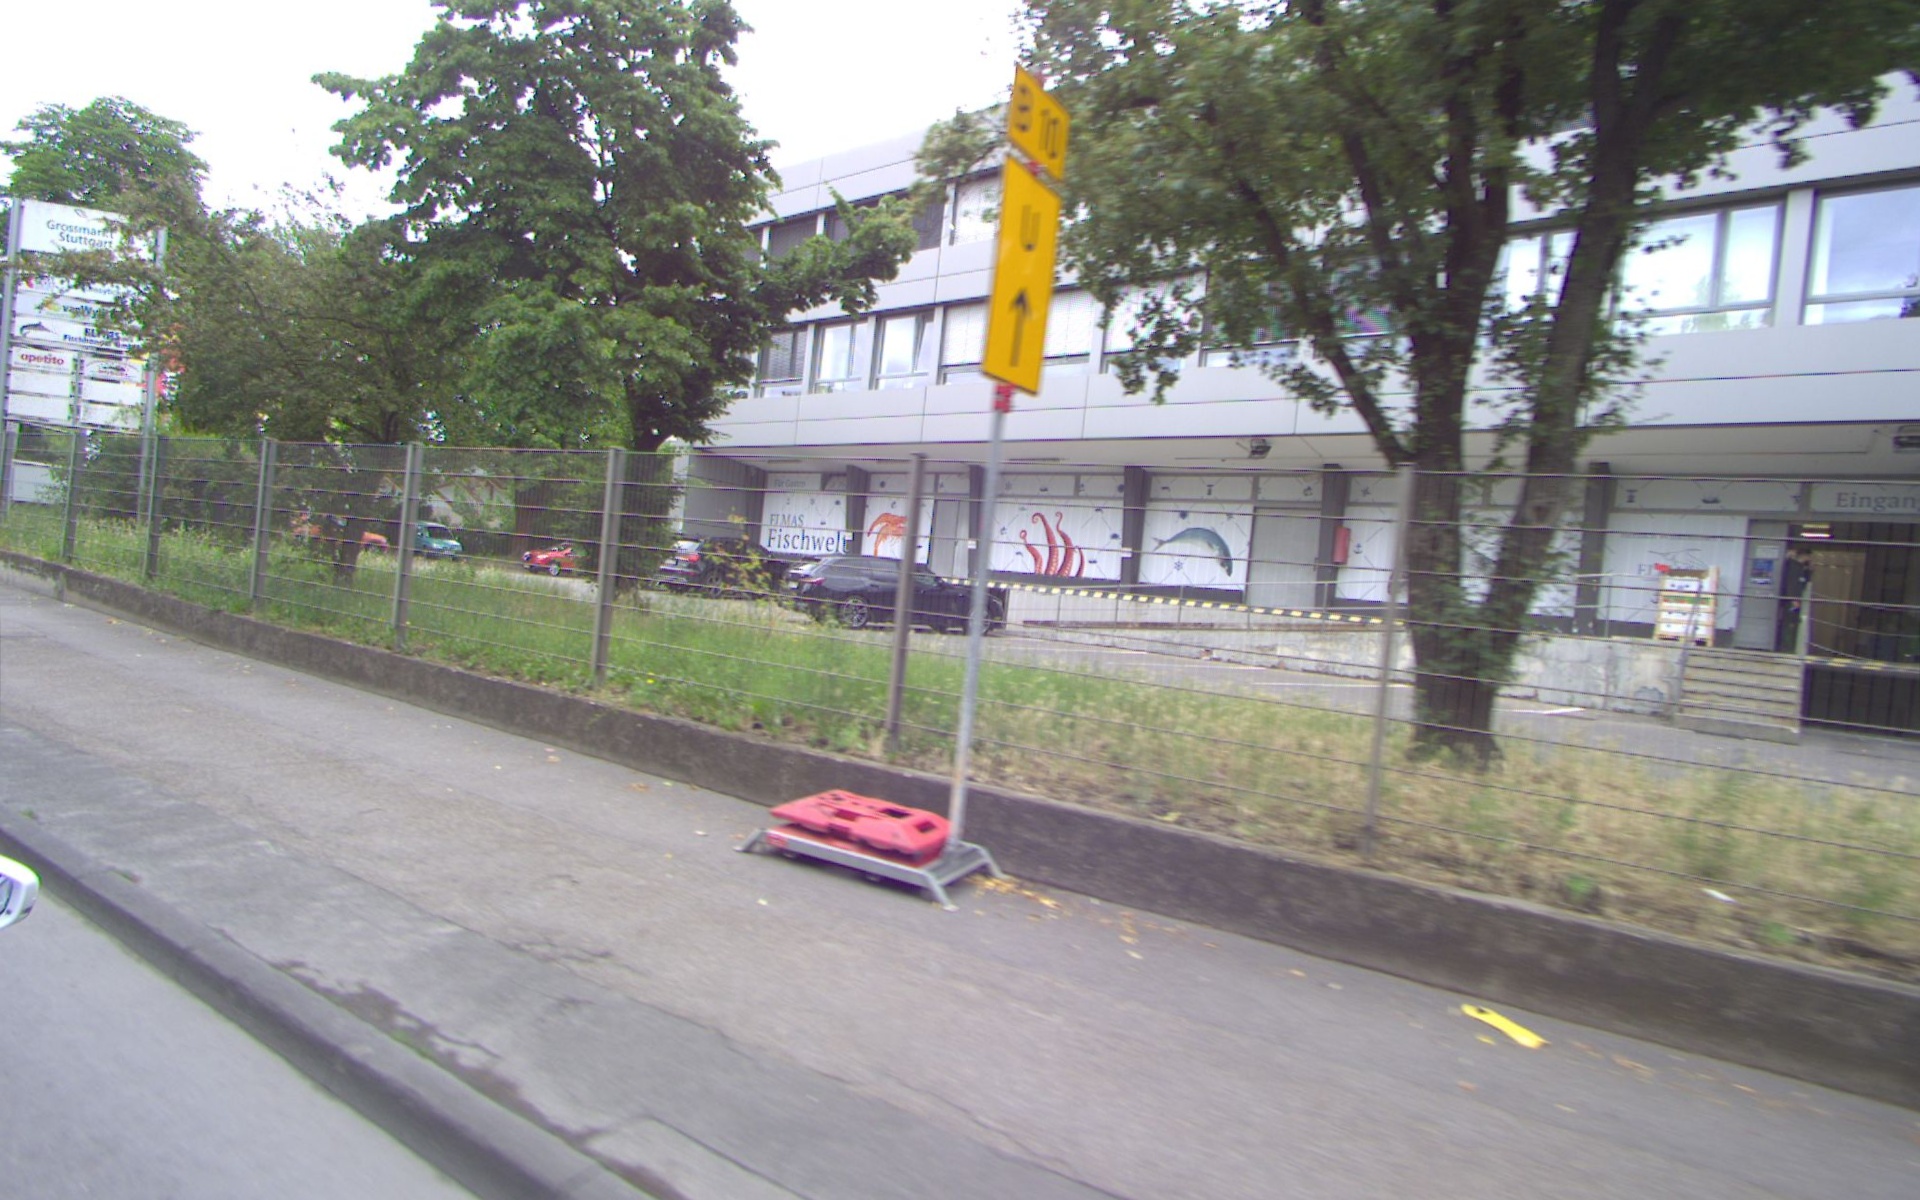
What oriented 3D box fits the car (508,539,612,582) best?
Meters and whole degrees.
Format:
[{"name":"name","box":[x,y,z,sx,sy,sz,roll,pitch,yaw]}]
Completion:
[{"name":"car","box":[-19.238,-1.886,48.524,1.802,1.563,4.227,7,1,36]}]

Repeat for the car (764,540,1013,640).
[{"name":"car","box":[-1.484,-0.188,21.426,4.808,1.554,2.007,6,1,-31]}]

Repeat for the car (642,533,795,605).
[{"name":"car","box":[-6.571,-0.816,27.683,1.802,1.554,3.699,7,1,36]}]
